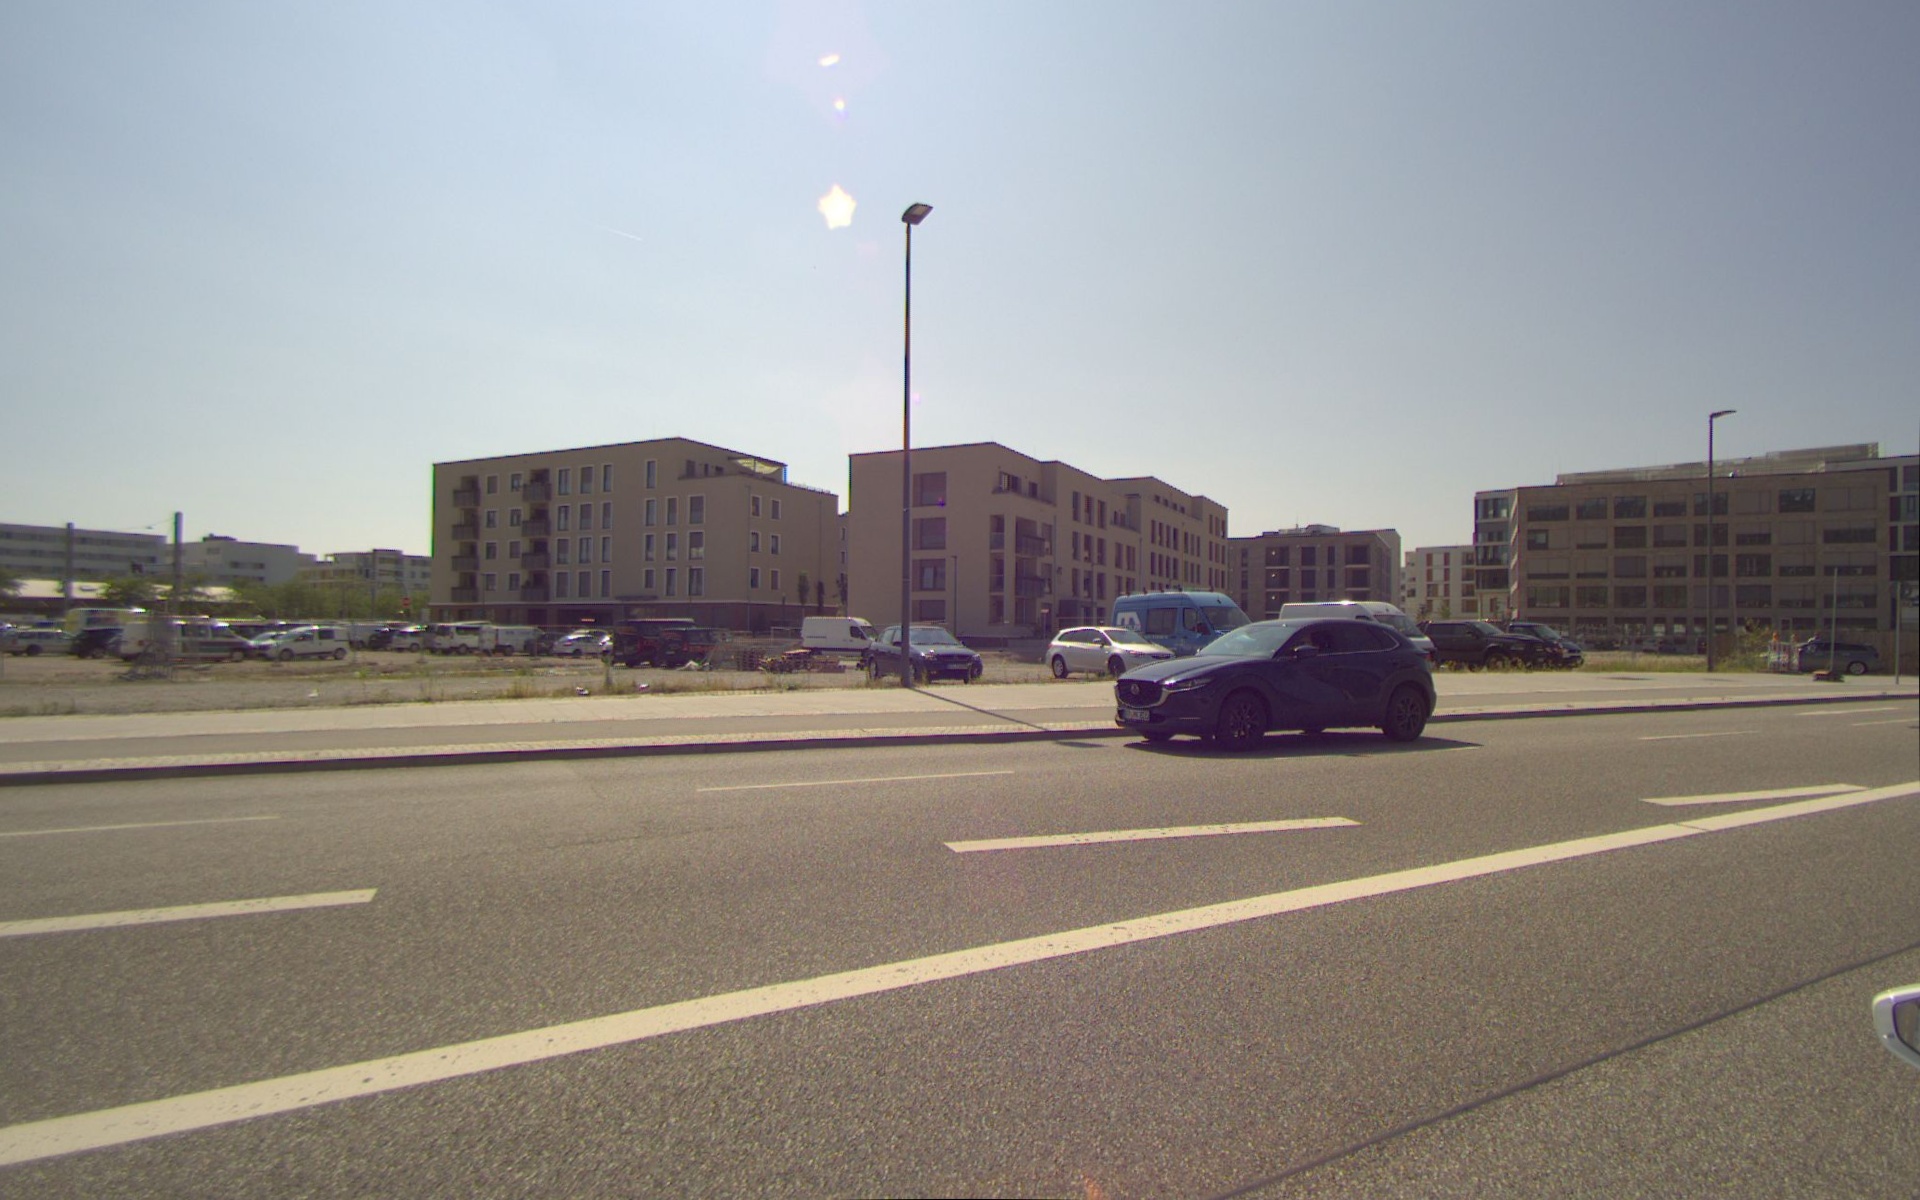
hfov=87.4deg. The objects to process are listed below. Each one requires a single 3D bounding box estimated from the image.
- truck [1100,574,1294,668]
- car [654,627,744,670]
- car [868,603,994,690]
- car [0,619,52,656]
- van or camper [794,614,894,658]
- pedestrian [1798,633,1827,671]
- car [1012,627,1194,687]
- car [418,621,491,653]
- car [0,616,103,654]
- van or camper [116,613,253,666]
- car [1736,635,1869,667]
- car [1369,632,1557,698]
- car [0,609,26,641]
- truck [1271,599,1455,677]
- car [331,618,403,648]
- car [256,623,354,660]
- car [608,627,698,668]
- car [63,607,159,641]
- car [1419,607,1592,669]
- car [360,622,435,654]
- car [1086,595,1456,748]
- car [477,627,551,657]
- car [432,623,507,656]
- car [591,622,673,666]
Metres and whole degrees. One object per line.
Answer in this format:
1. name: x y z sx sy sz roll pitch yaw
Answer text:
1. truck: 6.987 0.673 30.474 2.249 2.577 5.975 1 -2 -31
2. car: -12.522 2.291 48.434 1.965 1.873 3.991 1 0 31
3. car: -0.792 1.100 24.350 1.801 1.929 3.980 1 -2 -22
4. car: -53.414 2.084 55.754 1.963 2.040 3.996 -1 -2 26
5. van or camper: -7.128 2.208 61.663 5.812 2.592 1.936 0 -2 20
6. pedestrian: 39.079 2.386 46.051 0.744 1.706 0.684 3 -1 -20
7. car: 3.941 1.554 28.849 2.083 1.494 5.621 1 -1 -31
8. car: -34.319 2.488 68.304 1.965 2.040 3.991 1 0 31
9. car: -50.117 1.918 55.299 1.963 2.040 3.996 -1 -2 26
10. van or camper: -37.543 1.929 48.780 1.964 2.313 4.930 -5 -4 28
11. car: 37.523 2.259 44.879 4.168 1.335 1.998 -1 -2 26
12. car: 18.341 2.295 36.970 2.369 2.194 5.850 1 -2 -32
13. car: -60.930 1.519 61.835 1.963 1.996 4.648 0 -1 28
14. truck: 13.389 1.259 33.751 2.249 2.394 5.539 1 -2 -31
15. car: -42.616 2.362 72.291 1.965 2.040 3.992 0 -1 31
16. car: -35.443 2.238 54.460 1.965 1.906 3.992 -1 -2 31
17. car: -15.205 2.330 49.932 1.965 1.873 3.991 1 0 31
18. car: -51.556 1.477 61.103 1.963 2.040 3.996 -1 -2 26
19. car: 20.827 1.442 38.640 2.370 2.202 5.412 1 -2 -33
20. car: -38.348 2.580 68.582 1.965 2.040 3.991 1 0 31
21. car: 3.918 0.837 12.614 4.328 1.649 1.897 1 -2 -26
22. car: -28.997 2.681 65.349 1.965 1.811 3.991 1 0 31
23. car: -32.195 2.542 66.062 1.965 2.040 3.991 1 0 31
24. car: -17.514 2.318 53.809 1.962 2.270 3.997 0 -1 25
